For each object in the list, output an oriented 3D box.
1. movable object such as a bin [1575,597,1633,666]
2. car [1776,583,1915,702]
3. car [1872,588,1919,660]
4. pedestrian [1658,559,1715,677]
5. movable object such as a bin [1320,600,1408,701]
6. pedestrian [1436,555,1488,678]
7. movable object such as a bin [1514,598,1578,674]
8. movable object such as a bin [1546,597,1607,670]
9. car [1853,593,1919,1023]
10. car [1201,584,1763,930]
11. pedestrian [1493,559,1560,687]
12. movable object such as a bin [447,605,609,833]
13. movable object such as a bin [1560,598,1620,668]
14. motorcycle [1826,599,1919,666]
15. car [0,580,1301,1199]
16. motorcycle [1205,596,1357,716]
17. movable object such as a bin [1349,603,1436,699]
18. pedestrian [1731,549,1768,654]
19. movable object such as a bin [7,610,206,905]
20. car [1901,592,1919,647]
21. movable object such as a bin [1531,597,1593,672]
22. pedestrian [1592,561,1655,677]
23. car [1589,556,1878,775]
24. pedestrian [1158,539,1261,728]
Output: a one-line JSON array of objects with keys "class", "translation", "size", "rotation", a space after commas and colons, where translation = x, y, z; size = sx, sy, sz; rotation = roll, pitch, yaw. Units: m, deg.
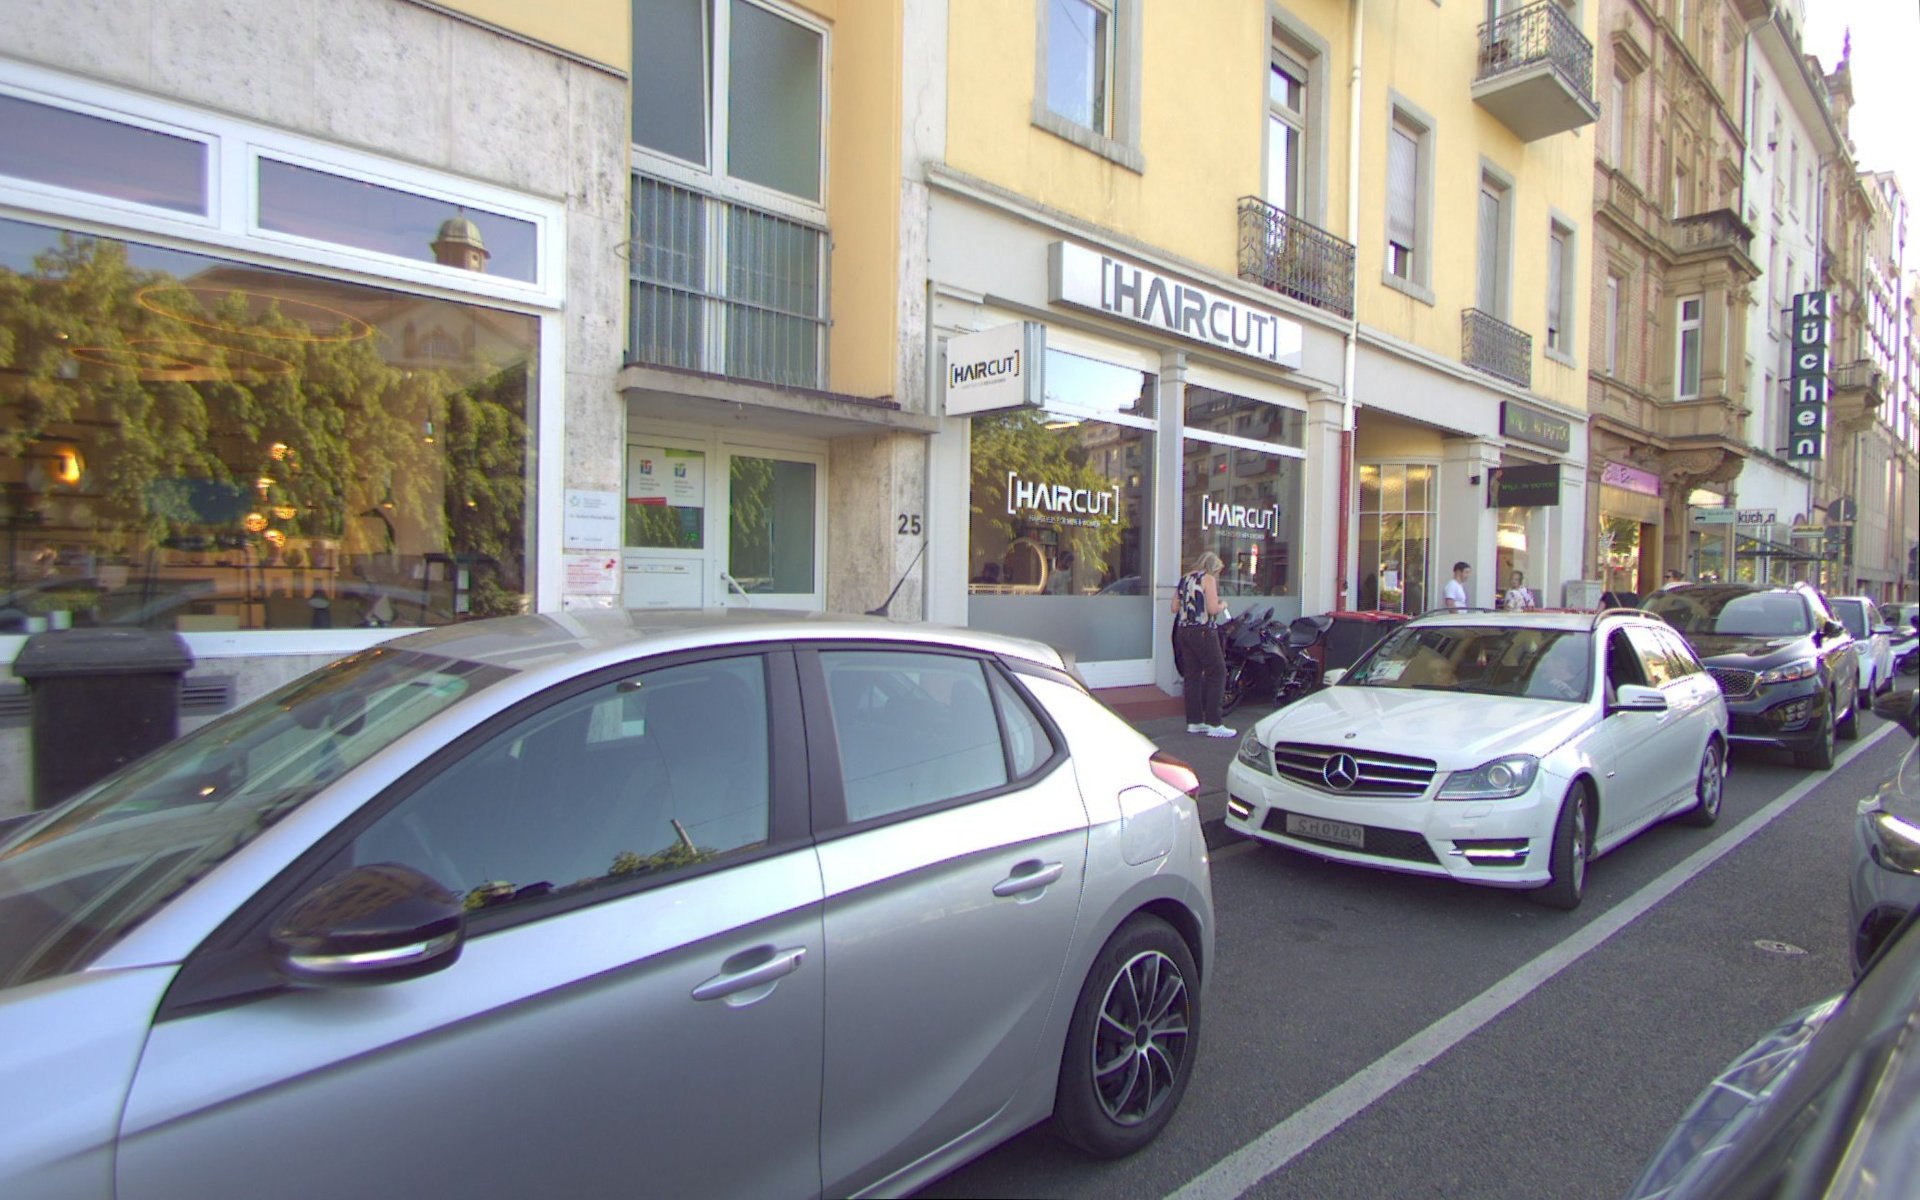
[{"class": "movable object such as a bin", "translation": [10.728, 0.510, 16.862], "size": [0.608, 1.079, 0.606], "rotation": [0, 4, -41]}, {"class": "car", "translation": [12.837, 0.541, 14.633], "size": [2.748, 1.537, 1.273], "rotation": [0, 1, -44]}, {"class": "car", "translation": [22.199, 0.515, 23.098], "size": [4.096, 1.537, 1.734], "rotation": [0, 1, -44]}, {"class": "pedestrian", "translation": [10.408, 0.253, 14.505], "size": [0.504, 1.653, 0.415], "rotation": [0, 0, -11]}, {"class": "movable object such as a bin", "translation": [4.574, 0.549, 11.462], "size": [0.608, 1.054, 0.661], "rotation": [0, 3, -38]}, {"class": "pedestrian", "translation": [6.989, 0.225, 14.084], "size": [0.513, 1.681, 0.339], "rotation": [1, 2, -23]}, {"class": "movable object such as a bin", "translation": [8.820, 0.527, 15.240], "size": [0.608, 1.079, 0.606], "rotation": [0, 4, -41]}, {"class": "movable object such as a bin", "translation": [9.767, 0.515, 16.040], "size": [0.608, 1.079, 0.606], "rotation": [0, 4, -41]}, {"class": "car", "translation": [5.382, 0.717, 4.314], "size": [4.297, 1.467, 1.846], "rotation": [0, 1, -41]}, {"class": "car", "translation": [3.546, 0.650, 6.437], "size": [4.387, 1.465, 1.741], "rotation": [0, 1, -42]}, {"class": "pedestrian", "translation": [7.599, 0.296, 13.586], "size": [0.582, 1.681, 0.451], "rotation": [2, 1, 5]}, {"class": "movable object such as a bin", "translation": [-2.355, 0.597, 5.498], "size": [0.609, 1.080, 0.704], "rotation": [0, 4, -41]}, {"class": "movable object such as a bin", "translation": [10.238, 0.522, 16.447], "size": [0.608, 1.079, 0.606], "rotation": [0, 4, -41]}, {"class": "motorcycle", "translation": [19.027, 0.651, 20.468], "size": [2.137, 1.295, 0.866], "rotation": [1, 0, 7]}, {"class": "car", "translation": [-0.920, 0.685, 2.444], "size": [4.010, 1.445, 1.671], "rotation": [0, 1, -44]}, {"class": "motorcycle", "translation": [3.356, 0.530, 10.482], "size": [1.975, 1.105, 0.551], "rotation": [0, 3, -42]}, {"class": "movable object such as a bin", "translation": [5.059, 0.575, 11.846], "size": [0.608, 1.037, 0.669], "rotation": [0, 3, -38]}, {"class": "pedestrian", "translation": [13.710, 0.018, 17.574], "size": [0.473, 1.785, 0.434], "rotation": [0, 0, -41]}, {"class": "movable object such as a bin", "translation": [-3.661, 0.614, 4.359], "size": [0.609, 1.080, 0.704], "rotation": [0, 4, -41]}, {"class": "car", "translation": [26.587, 0.505, 27.061], "size": [3.736, 1.435, 1.736], "rotation": [0, 1, -41]}, {"class": "movable object such as a bin", "translation": [9.309, 0.521, 15.646], "size": [0.608, 1.079, 0.606], "rotation": [0, 4, -41]}, {"class": "pedestrian", "translation": [9.674, 0.264, 14.772], "size": [0.608, 1.653, 0.462], "rotation": [1, 0, 8]}, {"class": "car", "translation": [8.035, 0.496, 10.334], "size": [4.498, 1.758, 1.756], "rotation": [0, 1, -45]}, {"class": "pedestrian", "translation": [2.293, 0.280, 9.319], "size": [0.523, 1.653, 0.697], "rotation": [0, 2, -43]}]
